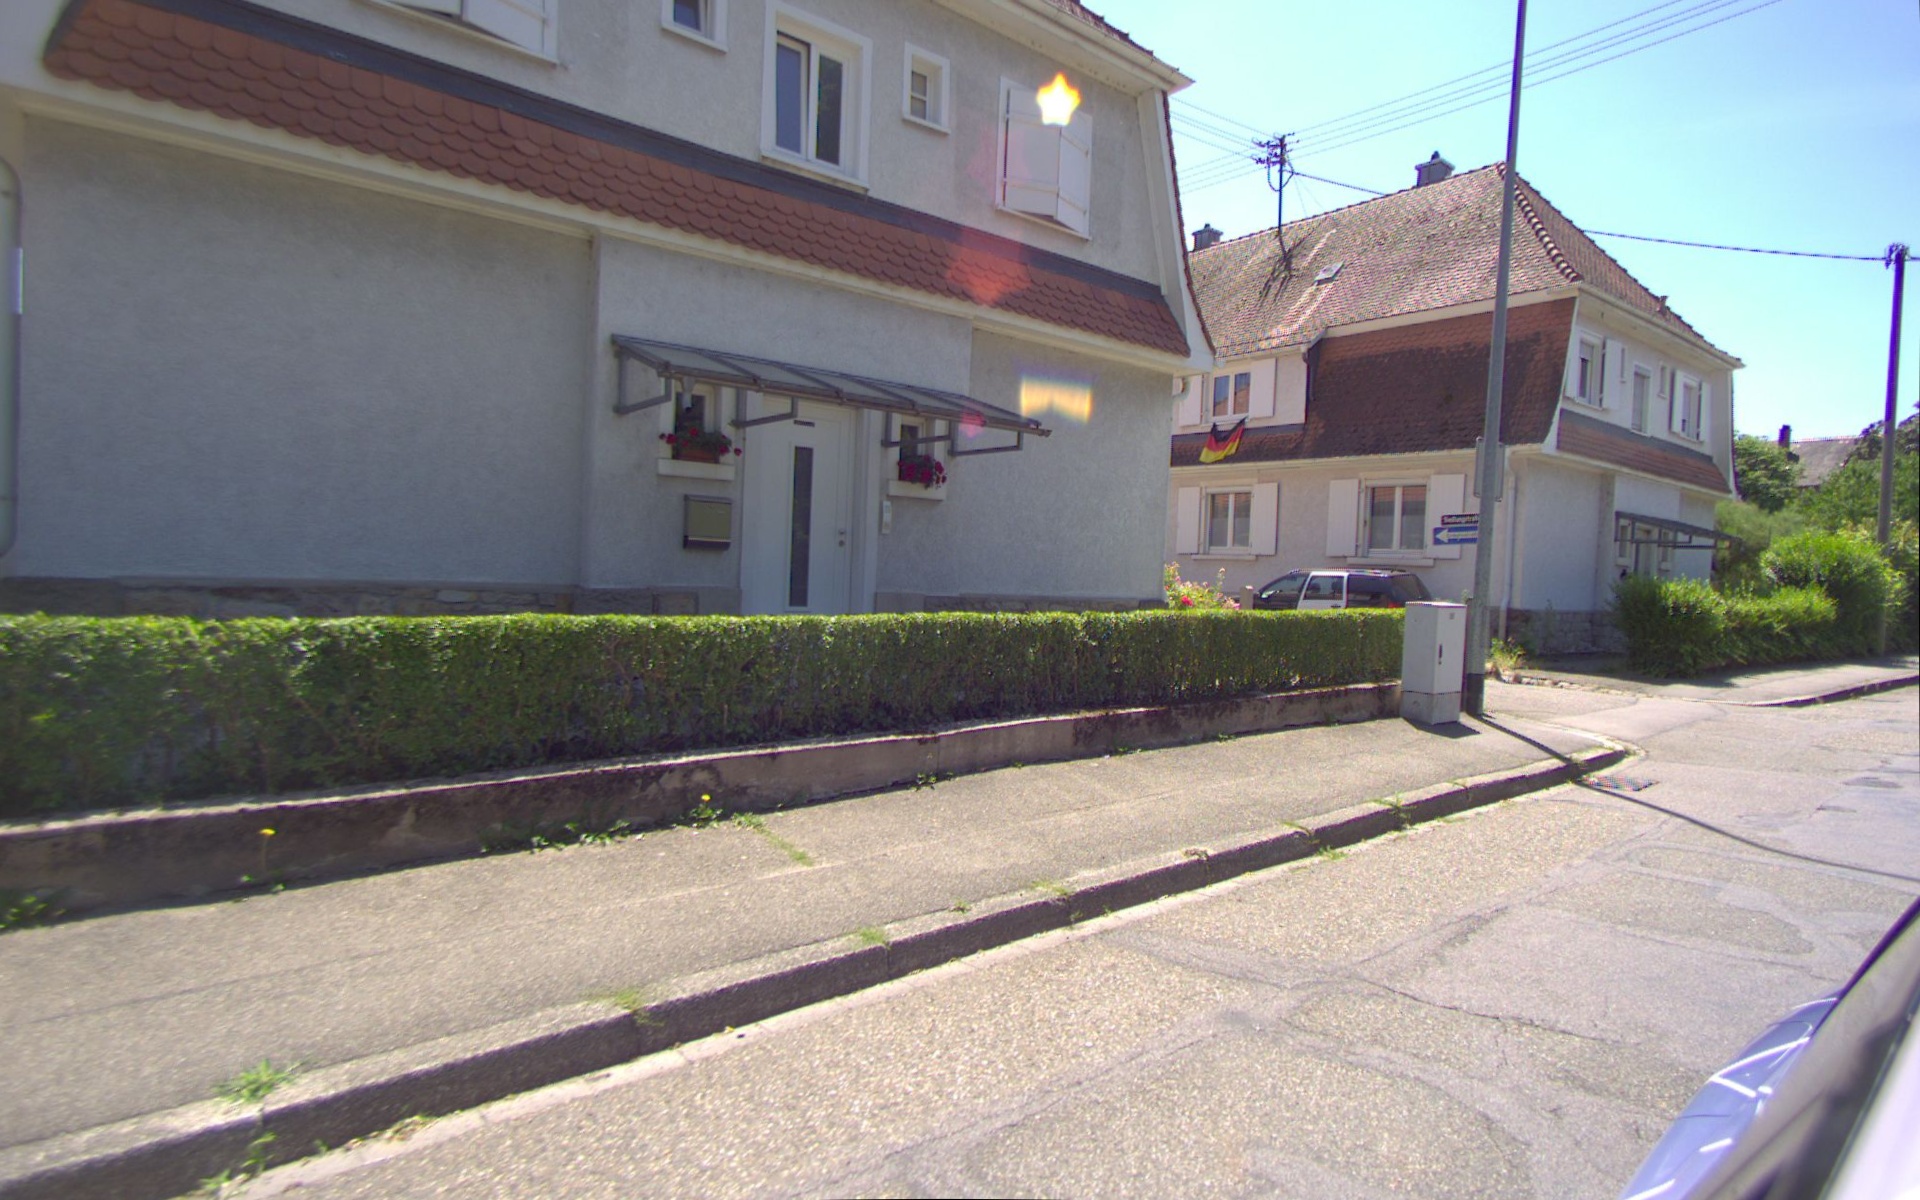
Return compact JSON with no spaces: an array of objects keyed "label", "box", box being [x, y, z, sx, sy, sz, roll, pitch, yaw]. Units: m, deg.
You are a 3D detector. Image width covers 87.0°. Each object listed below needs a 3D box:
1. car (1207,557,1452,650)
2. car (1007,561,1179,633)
[{"label":"car","box":[6.782,-0.016,18.916,1.663,1.555,4.005,0,2,-39]},{"label":"car","box":[3.033,-0.126,23.612,1.665,1.430,3.745,-1,4,-44]}]
